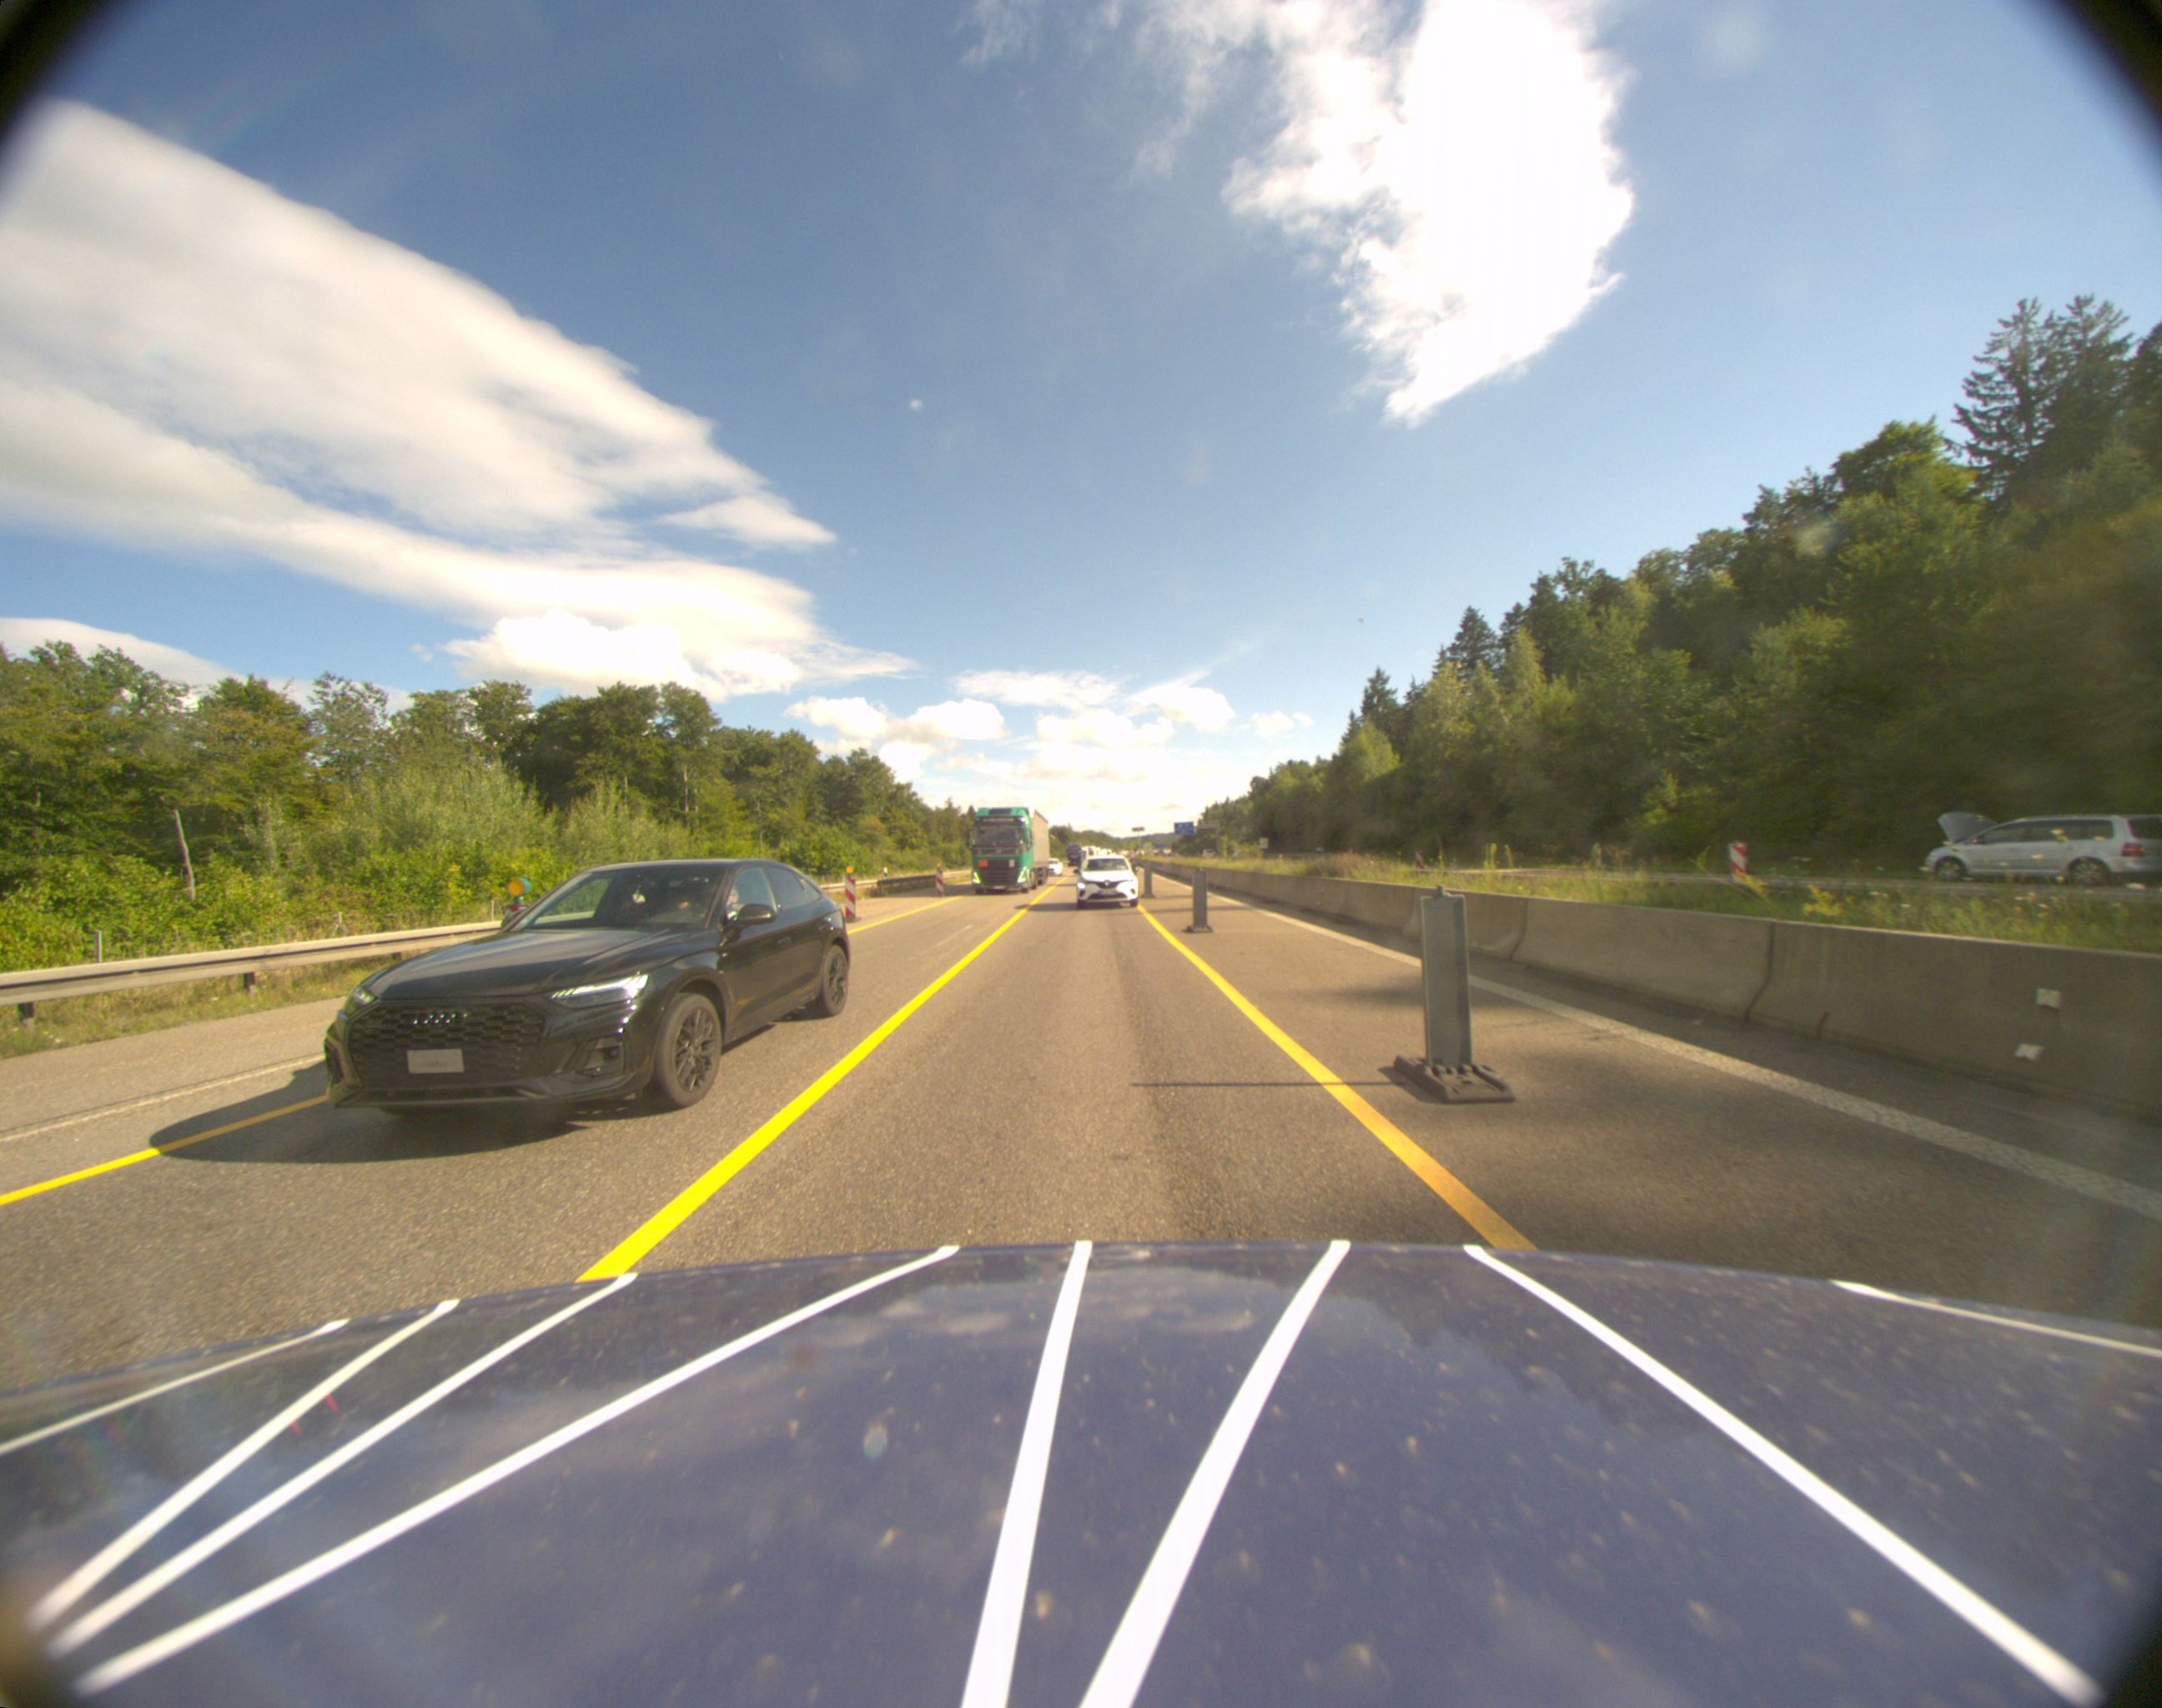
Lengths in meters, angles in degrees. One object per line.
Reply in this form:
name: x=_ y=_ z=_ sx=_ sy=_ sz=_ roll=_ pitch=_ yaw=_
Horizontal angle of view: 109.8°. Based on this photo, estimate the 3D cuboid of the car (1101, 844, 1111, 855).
car: x=5.030 y=-0.948 z=154.996 sx=1.998 sy=2.002 sz=4.000 roll=-2 pitch=1 yaw=1

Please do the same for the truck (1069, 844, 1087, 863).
truck: x=-0.463 y=-0.134 z=128.740 sx=2.576 sy=3.167 sz=6.803 roll=-2 pitch=1 yaw=3

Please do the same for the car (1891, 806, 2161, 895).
car: x=23.032 y=-0.123 z=18.369 sx=1.865 sy=1.843 sz=4.761 roll=-2 pitch=1 yaw=1

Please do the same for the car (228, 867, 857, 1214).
car: x=-3.371 y=0.991 z=6.012 sx=1.782 sy=1.593 sz=4.293 roll=-2 pitch=1 yaw=1

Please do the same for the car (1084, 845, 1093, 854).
car: x=1.586 y=-1.032 z=160.891 sx=1.750 sy=1.787 sz=4.000 roll=-2 pitch=1 yaw=1

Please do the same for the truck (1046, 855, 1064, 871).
truck: x=-2.235 y=0.737 z=65.259 sx=1.468 sy=1.215 sz=3.087 roll=-2 pitch=1 yaw=-1

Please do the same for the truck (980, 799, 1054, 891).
truck: x=-3.193 y=-0.391 z=42.039 sx=2.470 sy=4.119 sz=14.211 roll=-2 pitch=0 yaw=1

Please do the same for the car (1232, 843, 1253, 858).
car: x=21.175 y=-0.486 z=99.707 sx=1.782 sy=1.775 sz=4.365 roll=-2 pitch=1 yaw=1

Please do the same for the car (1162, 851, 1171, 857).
car: x=23.201 y=0.059 z=206.214 sx=1.782 sy=1.448 sz=4.104 roll=-2 pitch=1 yaw=1

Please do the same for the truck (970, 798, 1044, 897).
truck: x=-3.279 y=-0.323 z=35.561 sx=2.528 sy=4.075 sz=6.856 roll=-2 pitch=1 yaw=1

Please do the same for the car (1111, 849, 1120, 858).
car: x=8.252 y=-0.208 z=181.009 sx=1.998 sy=2.002 sz=4.000 roll=-2 pitch=1 yaw=3

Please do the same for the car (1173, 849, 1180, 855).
car: x=29.297 y=-0.660 z=232.863 sx=1.782 sy=1.679 sz=4.617 roll=-2 pitch=1 yaw=1

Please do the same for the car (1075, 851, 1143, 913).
car: x=0.805 y=0.758 z=22.791 sx=1.782 sy=1.593 sz=4.017 roll=-2 pitch=1 yaw=1

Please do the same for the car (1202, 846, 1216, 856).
car: x=22.791 y=-0.580 z=135.050 sx=1.782 sy=1.775 sz=4.365 roll=-2 pitch=1 yaw=1

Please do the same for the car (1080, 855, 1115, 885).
car: x=0.901 y=0.832 z=42.201 sx=1.782 sy=1.468 sz=4.017 roll=-2 pitch=1 yaw=1
